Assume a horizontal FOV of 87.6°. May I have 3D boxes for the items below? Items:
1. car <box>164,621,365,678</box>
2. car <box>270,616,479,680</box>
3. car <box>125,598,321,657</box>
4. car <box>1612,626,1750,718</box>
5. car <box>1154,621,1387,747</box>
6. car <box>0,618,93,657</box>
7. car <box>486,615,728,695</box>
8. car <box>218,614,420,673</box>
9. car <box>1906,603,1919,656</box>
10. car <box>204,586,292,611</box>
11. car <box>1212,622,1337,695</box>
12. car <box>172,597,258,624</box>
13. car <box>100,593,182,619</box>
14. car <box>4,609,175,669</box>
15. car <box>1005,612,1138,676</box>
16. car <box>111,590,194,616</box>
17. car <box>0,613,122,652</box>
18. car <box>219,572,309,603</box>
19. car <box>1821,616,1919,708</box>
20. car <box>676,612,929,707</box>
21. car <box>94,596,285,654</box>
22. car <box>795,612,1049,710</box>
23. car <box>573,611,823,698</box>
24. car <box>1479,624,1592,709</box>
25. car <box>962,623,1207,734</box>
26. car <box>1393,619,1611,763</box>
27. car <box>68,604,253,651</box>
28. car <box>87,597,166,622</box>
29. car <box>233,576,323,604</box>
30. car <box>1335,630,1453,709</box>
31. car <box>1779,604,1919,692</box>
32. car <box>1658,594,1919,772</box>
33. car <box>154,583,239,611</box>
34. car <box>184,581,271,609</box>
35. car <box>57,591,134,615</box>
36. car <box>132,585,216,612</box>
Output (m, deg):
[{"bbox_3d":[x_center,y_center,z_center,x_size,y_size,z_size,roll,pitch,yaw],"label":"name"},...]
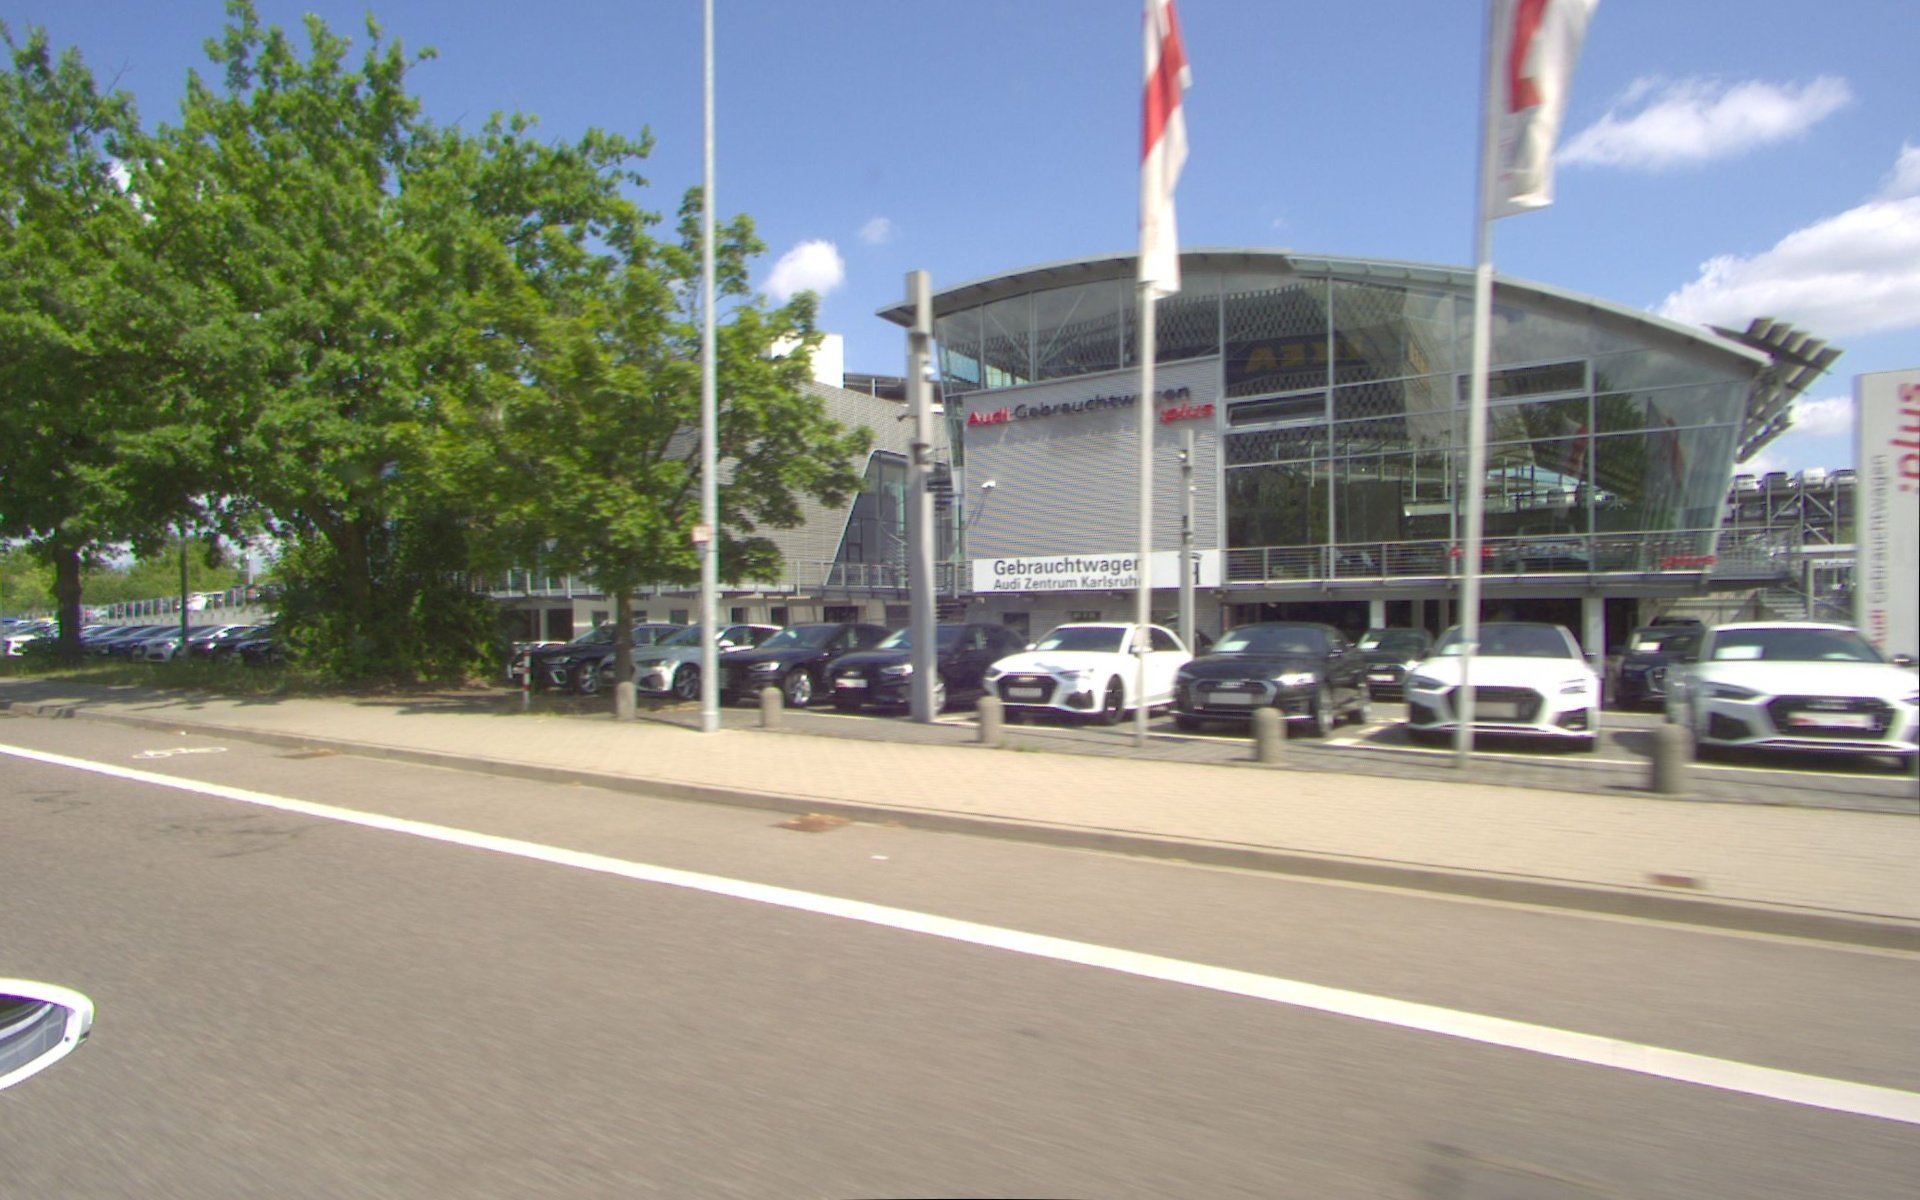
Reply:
[{"bbox_3d":[-20.663,1.414,29.958,1.880,1.518,4.566,-1,-1,31],"label":"car"},{"bbox_3d":[-15.721,1.236,27.150,1.880,1.518,4.566,-1,-1,31],"label":"car"},{"bbox_3d":[-22.965,0.842,31.393,1.879,1.700,4.567,1,0,31],"label":"car"},{"bbox_3d":[14.158,1.323,19.890,1.880,1.518,4.338,-1,-1,31],"label":"car"},{"bbox_3d":[4.302,0.972,13.344,1.879,1.314,4.567,1,0,31],"label":"car"},{"bbox_3d":[-39.926,1.583,42.544,1.829,1.532,4.346,-1,0,32],"label":"car"},{"bbox_3d":[-7.149,1.110,20.800,1.879,1.423,4.569,1,-2,31],"label":"car"},{"bbox_3d":[-18.352,1.195,28.914,1.880,1.518,4.566,-1,-1,31],"label":"car"},{"bbox_3d":[33.112,1.018,32.763,4.524,1.700,1.897,2,0,-30],"label":"car"},{"bbox_3d":[-46.984,-0.083,66.153,1.909,1.572,4.343,1,0,35],"label":"car"},{"bbox_3d":[7.679,1.336,24.182,1.880,1.518,4.338,-1,-1,31],"label":"car"},{"bbox_3d":[-51.061,0.741,68.695,1.909,1.798,4.343,1,0,35],"label":"car"},{"bbox_3d":[-60.296,0.462,73.768,1.909,1.798,4.343,1,0,35],"label":"car"},{"bbox_3d":[-33.106,1.446,38.209,1.879,2.076,4.567,1,0,31],"label":"car"},{"bbox_3d":[3.056,1.099,26.668,1.880,1.518,4.338,-1,-1,31],"label":"car"},{"bbox_3d":[-58.108,0.229,72.124,1.909,1.798,4.343,1,0,35],"label":"car"},{"bbox_3d":[-35.706,1.258,39.203,1.792,1.422,4.099,-1,0,31],"label":"car"},{"bbox_3d":[-44.887,-0.786,64.657,1.909,1.798,4.343,1,0,35],"label":"car"},{"bbox_3d":[17.667,1.066,16.761,4.690,1.529,1.976,-1,-4,33],"label":"car"},{"bbox_3d":[-2.608,1.025,17.715,1.879,1.401,4.570,1,-2,31],"label":"car"},{"bbox_3d":[-24.985,0.801,32.655,1.879,1.700,4.567,1,0,31],"label":"car"},{"bbox_3d":[-0.431,1.023,16.294,1.879,1.313,4.572,1,-4,31],"label":"car"},{"bbox_3d":[-4.840,1.070,19.189,1.879,1.422,4.571,1,-3,31],"label":"car"},{"bbox_3d":[12.227,1.310,21.214,1.880,1.518,4.338,-1,-1,31],"label":"car"},{"bbox_3d":[2.017,1.024,14.811,1.879,1.314,4.567,1,0,31],"label":"car"},{"bbox_3d":[6.528,0.917,11.923,1.879,1.314,4.567,1,0,31],"label":"car"},{"bbox_3d":[-27.003,0.918,33.994,1.879,1.423,4.567,1,0,31],"label":"car"},{"bbox_3d":[-64.316,0.743,77.318,1.909,1.798,4.343,1,0,35],"label":"car"},{"bbox_3d":[-43.040,-0.619,63.273,1.909,1.572,4.343,1,0,35],"label":"car"},{"bbox_3d":[9.932,1.486,22.737,1.880,1.518,4.338,-1,-1,31],"label":"car"},{"bbox_3d":[20.418,1.030,21.152,4.484,1.763,1.991,1,0,30],"label":"car"},{"bbox_3d":[8.475,0.819,10.388,1.770,1.482,3.983,-1,-4,31],"label":"car"},{"bbox_3d":[-53.303,-0.210,69.979,1.909,1.798,4.343,1,0,35],"label":"car"},{"bbox_3d":[-49.236,-0.321,67.337,1.909,1.798,4.343,1,0,35],"label":"car"},{"bbox_3d":[-68.984,0.283,79.983,1.909,1.798,4.343,1,0,35],"label":"car"},{"bbox_3d":[-55.811,-0.082,71.192,1.909,1.798,4.343,1,0,35],"label":"car"}]
